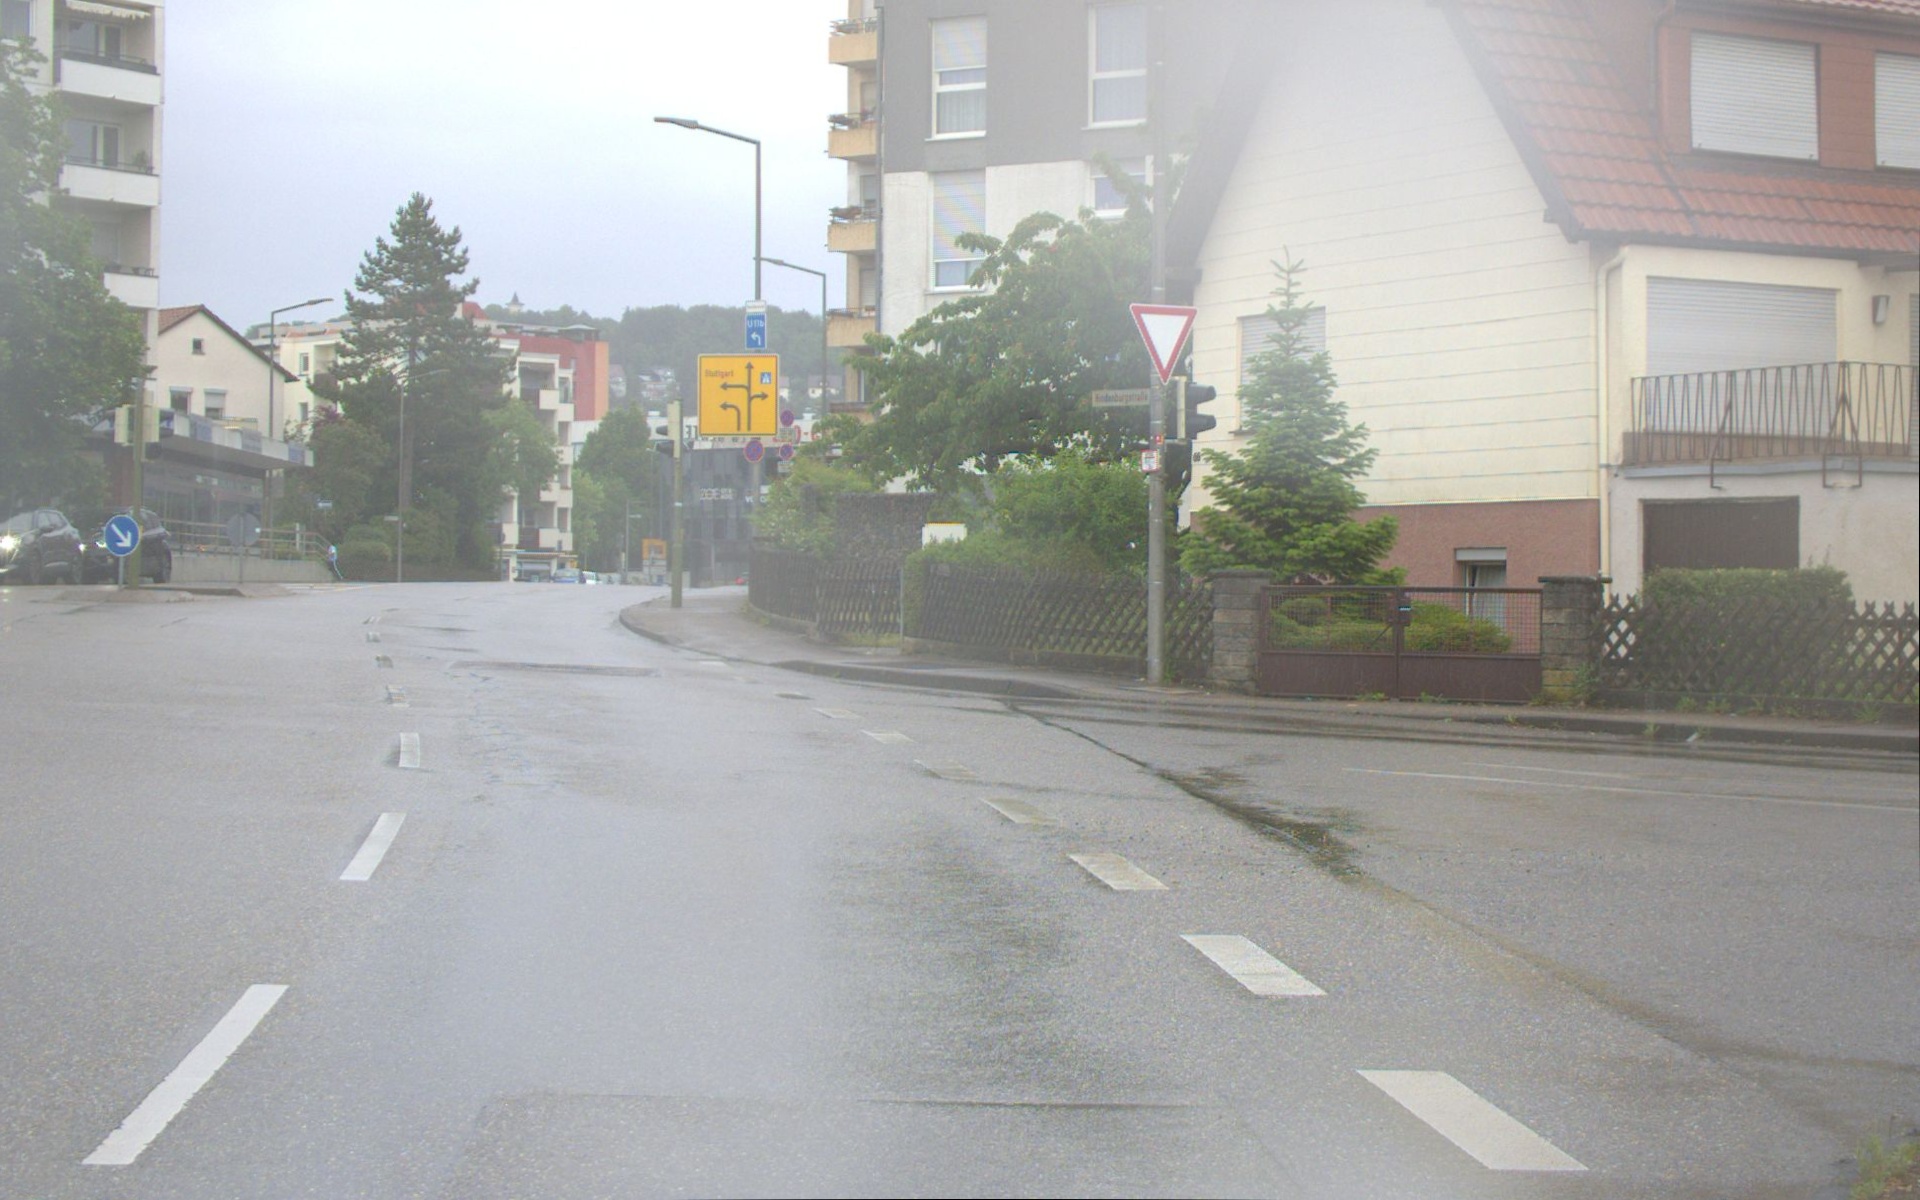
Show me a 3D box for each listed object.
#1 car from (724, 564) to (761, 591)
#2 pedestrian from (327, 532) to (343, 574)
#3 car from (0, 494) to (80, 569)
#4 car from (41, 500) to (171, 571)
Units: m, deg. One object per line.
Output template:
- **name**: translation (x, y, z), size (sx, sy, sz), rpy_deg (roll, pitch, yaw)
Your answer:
- **car**: translation (-12.212, -1.273, 193.252), size (1.813, 1.481, 4.189), rpy_deg (0, 1, 0)
- **pedestrian**: translation (-24.639, -1.860, 135.543), size (0.497, 1.652, 0.434), rpy_deg (1, 1, 5)
- **car**: translation (-18.172, -1.329, 65.673), size (1.715, 1.382, 4.021), rpy_deg (1, 1, -1)
- **car**: translation (-17.781, -1.360, 71.713), size (1.778, 1.415, 3.831), rpy_deg (1, 1, -1)
